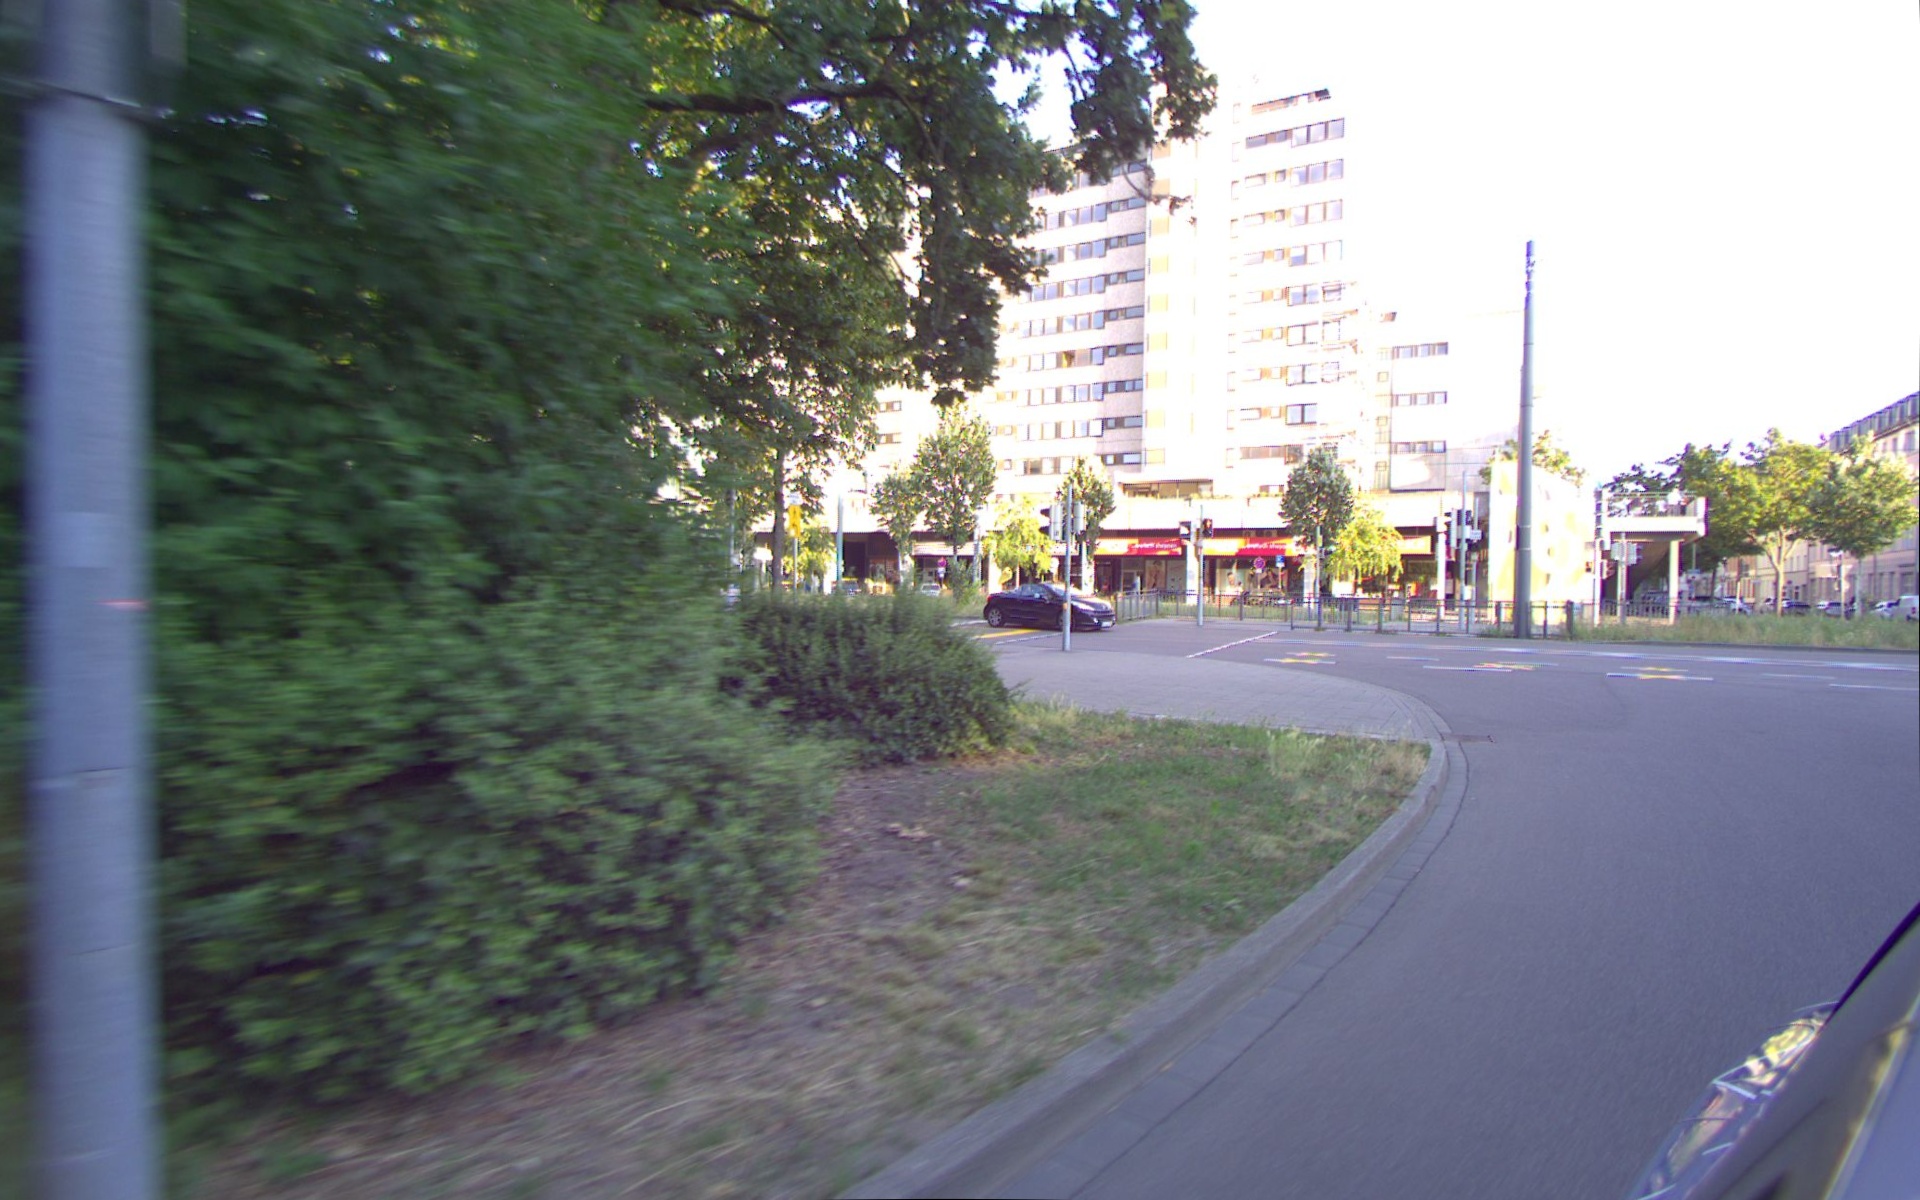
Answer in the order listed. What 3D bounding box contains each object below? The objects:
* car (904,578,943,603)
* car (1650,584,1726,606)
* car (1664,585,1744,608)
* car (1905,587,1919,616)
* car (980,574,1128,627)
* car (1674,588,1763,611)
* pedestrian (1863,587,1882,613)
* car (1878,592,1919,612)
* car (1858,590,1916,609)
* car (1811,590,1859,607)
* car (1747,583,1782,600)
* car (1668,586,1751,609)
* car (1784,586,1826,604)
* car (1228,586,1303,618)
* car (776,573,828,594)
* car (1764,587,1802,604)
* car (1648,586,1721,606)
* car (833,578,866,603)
[{"bbox_3d":[-2.416,-0.628,65.705,1.687,1.581,4.340,0,1,-13],"label":"car"},{"bbox_3d":[57.399,-0.410,79.867,4.604,1.579,1.979,1,1,30],"label":"car"},{"bbox_3d":[56.035,-0.289,76.305,4.604,1.579,1.979,1,1,30],"label":"car"},{"bbox_3d":[59.560,0.111,61.560,1.982,1.771,3.961,1,1,28],"label":"car"},{"bbox_3d":[2.623,-0.028,28.700,3.891,1.405,1.775,2,1,40],"label":"car"},{"bbox_3d":[52.115,-0.064,69.660,4.604,1.415,1.979,1,1,30],"label":"car"},{"bbox_3d":[72.321,-0.032,80.211,0.884,2.039,0.763,1,1,28],"label":"pedestrian"},{"bbox_3d":[62.498,0.123,66.747,1.982,1.259,3.961,1,1,28],"label":"car"},{"bbox_3d":[64.480,-0.049,70.469,1.982,1.259,3.961,1,1,28],"label":"car"},{"bbox_3d":[68.616,-0.154,79.391,1.982,1.259,3.961,1,1,28],"label":"car"},{"bbox_3d":[79.604,-0.851,100.178,1.982,1.549,3.961,1,1,28],"label":"car"},{"bbox_3d":[54.752,-0.213,74.051,4.604,1.579,1.979,1,1,30],"label":"car"},{"bbox_3d":[73.855,-0.454,88.524,1.982,1.549,3.961,1,1,28],"label":"car"},{"bbox_3d":[16.263,0.064,54.170,1.920,1.581,4.354,0,1,-13],"label":"car"},{"bbox_3d":[-12.663,-1.323,81.503,1.711,1.581,4.279,1,1,33],"label":"car"},{"bbox_3d":[77.461,-0.462,95.282,1.982,1.549,3.961,1,1,28],"label":"car"},{"bbox_3d":[58.925,-0.334,82.436,4.604,1.579,1.979,1,1,30],"label":"car"},{"bbox_3d":[-7.542,-0.666,68.775,1.687,1.581,4.340,0,1,-13],"label":"car"}]
